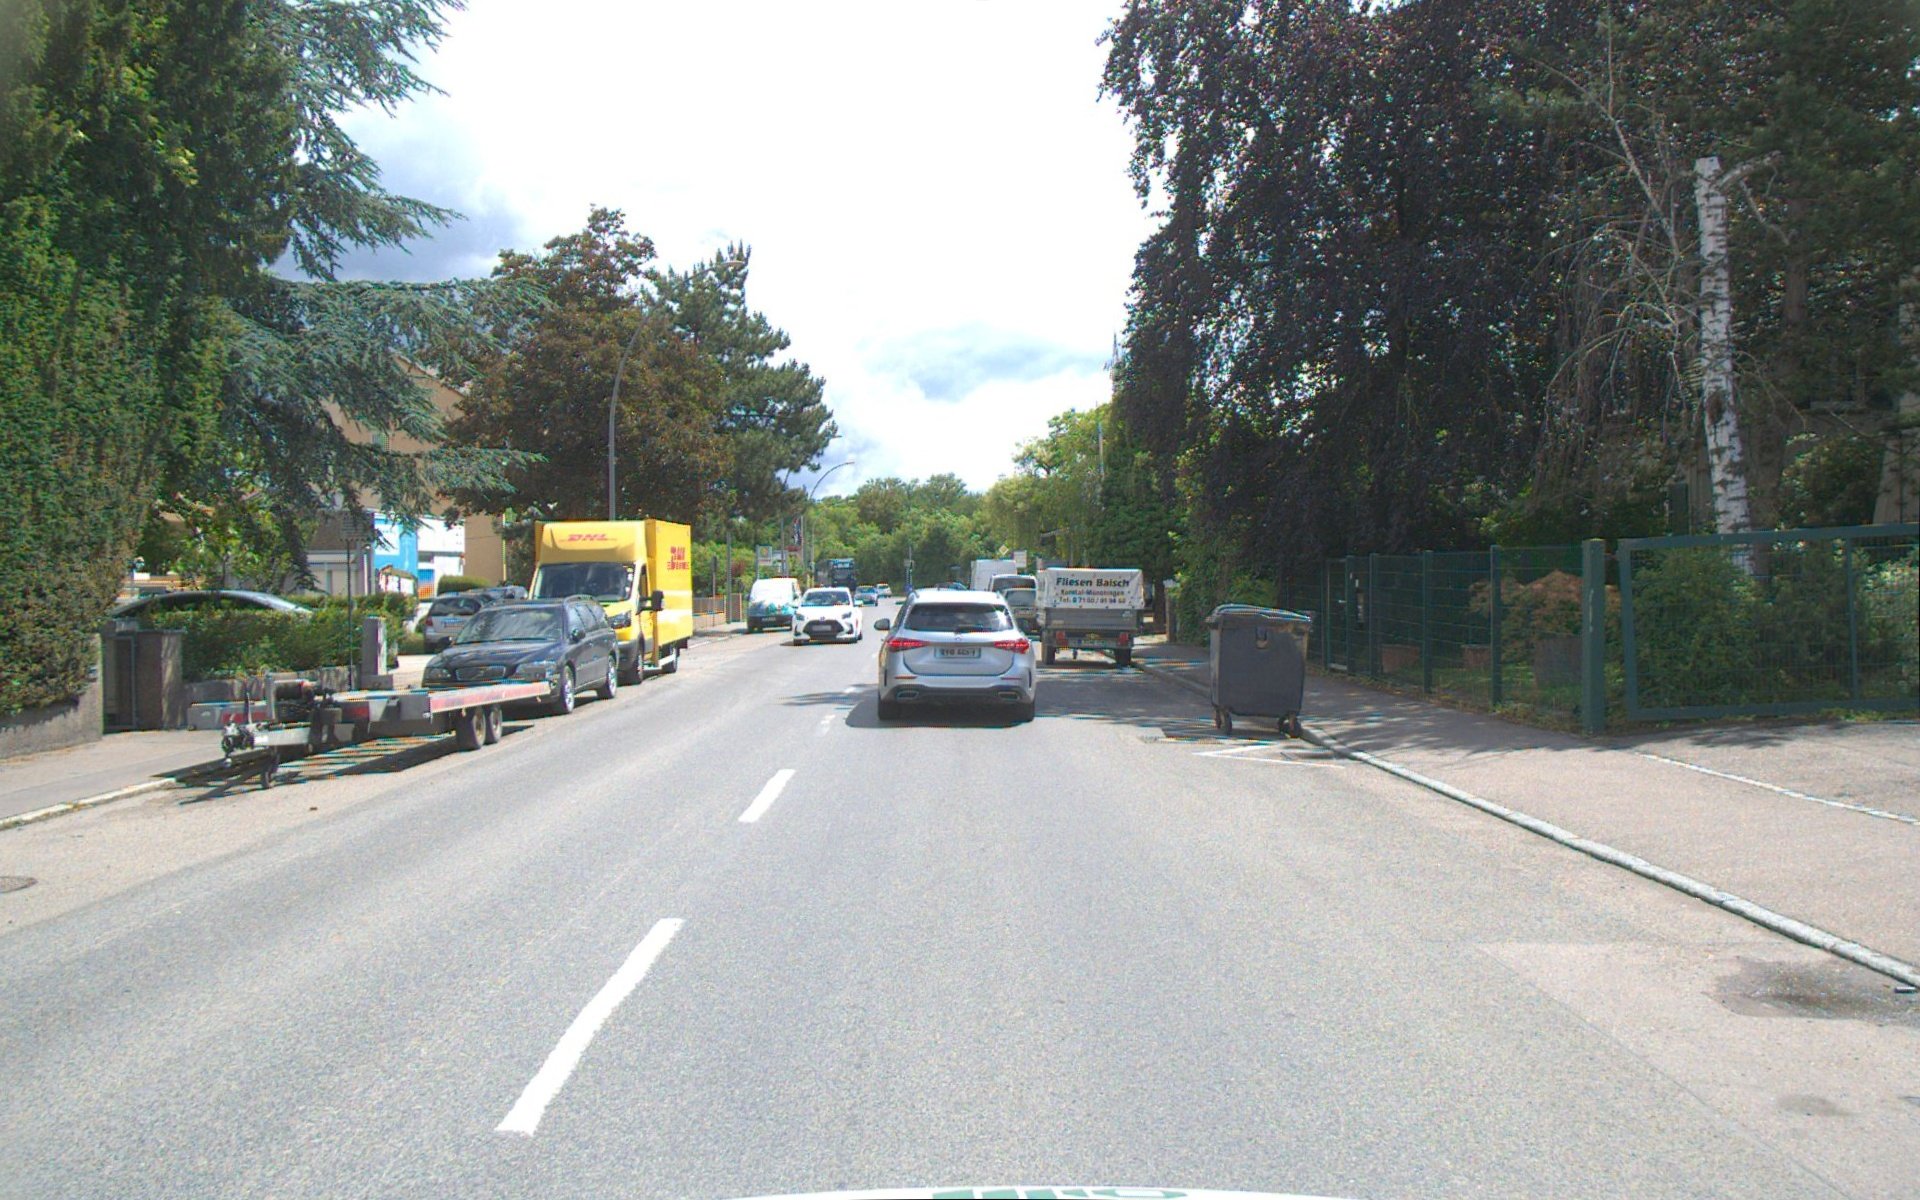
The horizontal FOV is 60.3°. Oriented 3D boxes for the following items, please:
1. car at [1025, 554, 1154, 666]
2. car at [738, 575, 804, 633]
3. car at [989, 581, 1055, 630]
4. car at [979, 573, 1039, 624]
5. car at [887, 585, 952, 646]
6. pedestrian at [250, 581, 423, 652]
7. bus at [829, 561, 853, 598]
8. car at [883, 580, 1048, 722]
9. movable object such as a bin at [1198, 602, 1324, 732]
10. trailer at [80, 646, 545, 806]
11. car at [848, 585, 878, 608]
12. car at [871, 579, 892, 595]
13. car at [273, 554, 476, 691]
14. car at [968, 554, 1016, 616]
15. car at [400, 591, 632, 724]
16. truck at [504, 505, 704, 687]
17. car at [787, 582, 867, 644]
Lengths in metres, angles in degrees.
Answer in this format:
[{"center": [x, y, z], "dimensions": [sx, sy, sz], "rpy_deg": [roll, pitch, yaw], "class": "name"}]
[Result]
[{"center": [2.490, 0.163, 33.137], "dimensions": [2.100, 2.018, 5.260], "rpy_deg": [-1, 0, -1], "class": "car"}, {"center": [-6.739, 0.111, 59.426], "dimensions": [1.895, 1.952, 4.362], "rpy_deg": [-2, 1, -1], "class": "car"}, {"center": [1.963, 0.171, 53.177], "dimensions": [1.749, 1.510, 4.314], "rpy_deg": [0, 0, -3], "class": "car"}, {"center": [1.699, -0.045, 58.587], "dimensions": [1.749, 1.745, 4.314], "rpy_deg": [0, 0, -3], "class": "car"}, {"center": [-1.126, 0.397, 45.991], "dimensions": [1.720, 1.585, 3.999], "rpy_deg": [0, 1, -2], "class": "car"}, {"center": [-16.699, 0.426, 44.469], "dimensions": [3.909, 1.735, 1.998], "rpy_deg": [2, 1, -6], "class": "pedestrian"}, {"center": [-11.351, -1.991, 157.447], "dimensions": [1.955, 3.423, 6.973], "rpy_deg": [1, 1, -6], "class": "bus"}, {"center": [-0.042, 0.554, 19.864], "dimensions": [1.749, 1.510, 4.314], "rpy_deg": [0, 0, -3], "class": "car"}, {"center": [3.194, 0.694, 17.700], "dimensions": [1.062, 1.293, 1.380], "rpy_deg": [1, 1, -1], "class": "movable object such as a bin"}, {"center": [-5.603, 1.026, 15.397], "dimensions": [2.183, 0.941, 5.946], "rpy_deg": [0, 1, -2], "class": "trailer"}, {"center": [-6.888, -0.259, 117.926], "dimensions": [1.895, 1.518, 4.362], "rpy_deg": [-2, 1, -1], "class": "car"}, {"center": [-8.598, -1.466, 180.981], "dimensions": [1.897, 1.663, 4.357], "rpy_deg": [-2, 1, -7], "class": "car"}, {"center": [-9.560, 0.313, 27.364], "dimensions": [1.953, 2.049, 3.999], "rpy_deg": [2, 1, -1], "class": "car"}, {"center": [1.331, -0.620, 70.694], "dimensions": [1.749, 2.562, 4.314], "rpy_deg": [0, 0, -3], "class": "car"}, {"center": [-5.809, 0.682, 22.243], "dimensions": [2.033, 1.503, 4.455], "rpy_deg": [-2, 1, -2], "class": "car"}, {"center": [-6.272, -0.113, 30.140], "dimensions": [2.032, 2.863, 7.078], "rpy_deg": [-2, 1, 0], "class": "truck"}, {"center": [-3.577, 0.315, 45.142], "dimensions": [1.895, 1.518, 4.362], "rpy_deg": [-2, 1, -1], "class": "car"}]
